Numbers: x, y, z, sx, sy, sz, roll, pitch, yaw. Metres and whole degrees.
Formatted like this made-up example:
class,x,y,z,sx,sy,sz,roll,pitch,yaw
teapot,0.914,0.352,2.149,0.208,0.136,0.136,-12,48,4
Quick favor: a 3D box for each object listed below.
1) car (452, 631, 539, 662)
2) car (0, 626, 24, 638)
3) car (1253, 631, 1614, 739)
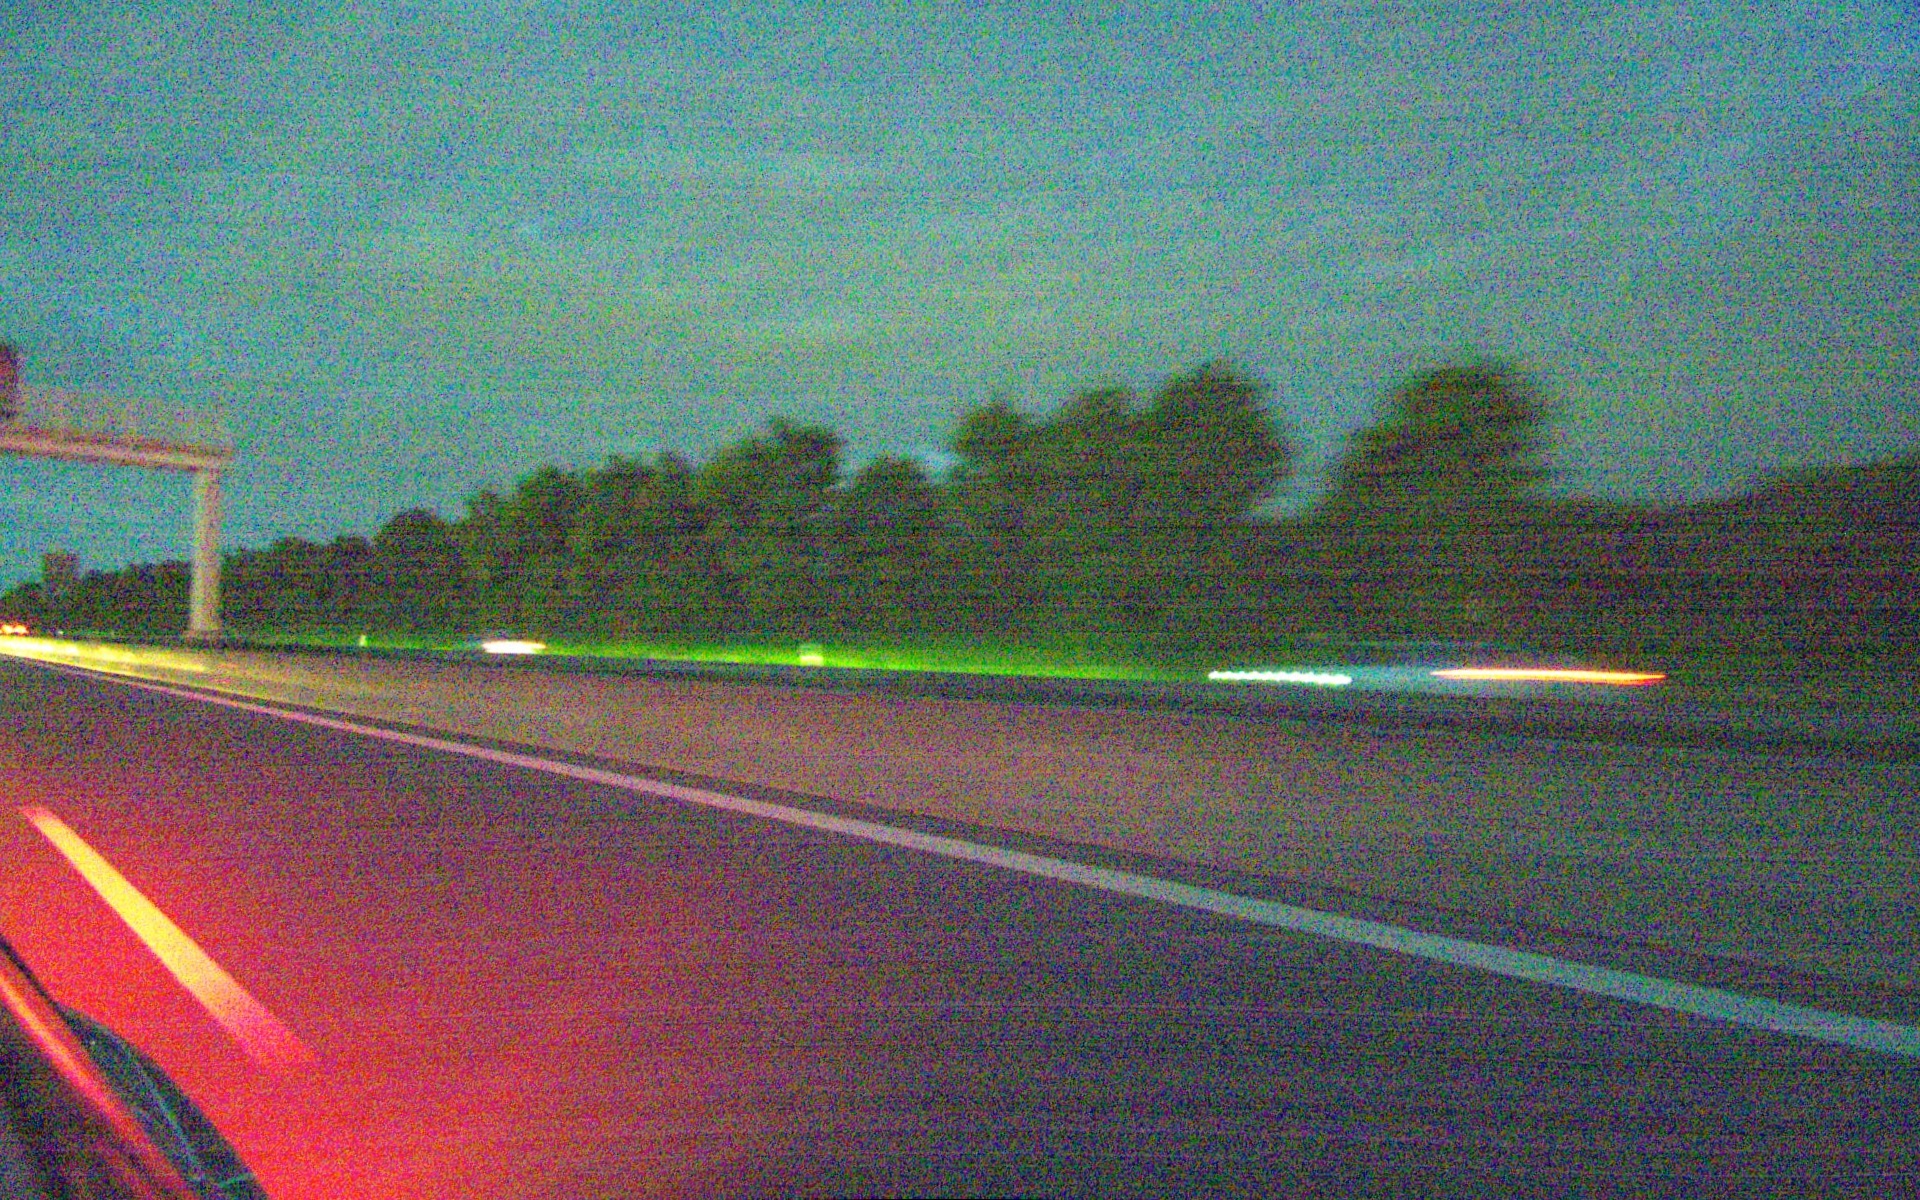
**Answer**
class,x,y,z,sx,sy,sz,roll,pitch,yaw
car,-19.982,1.962,43.456,4.349,1.292,1.883,-2,-2,42
car,-124.401,4.202,132.778,4.401,1.630,1.884,-1,-2,40
car,7.810,1.305,17.100,5.184,1.549,1.943,-2,-2,42
